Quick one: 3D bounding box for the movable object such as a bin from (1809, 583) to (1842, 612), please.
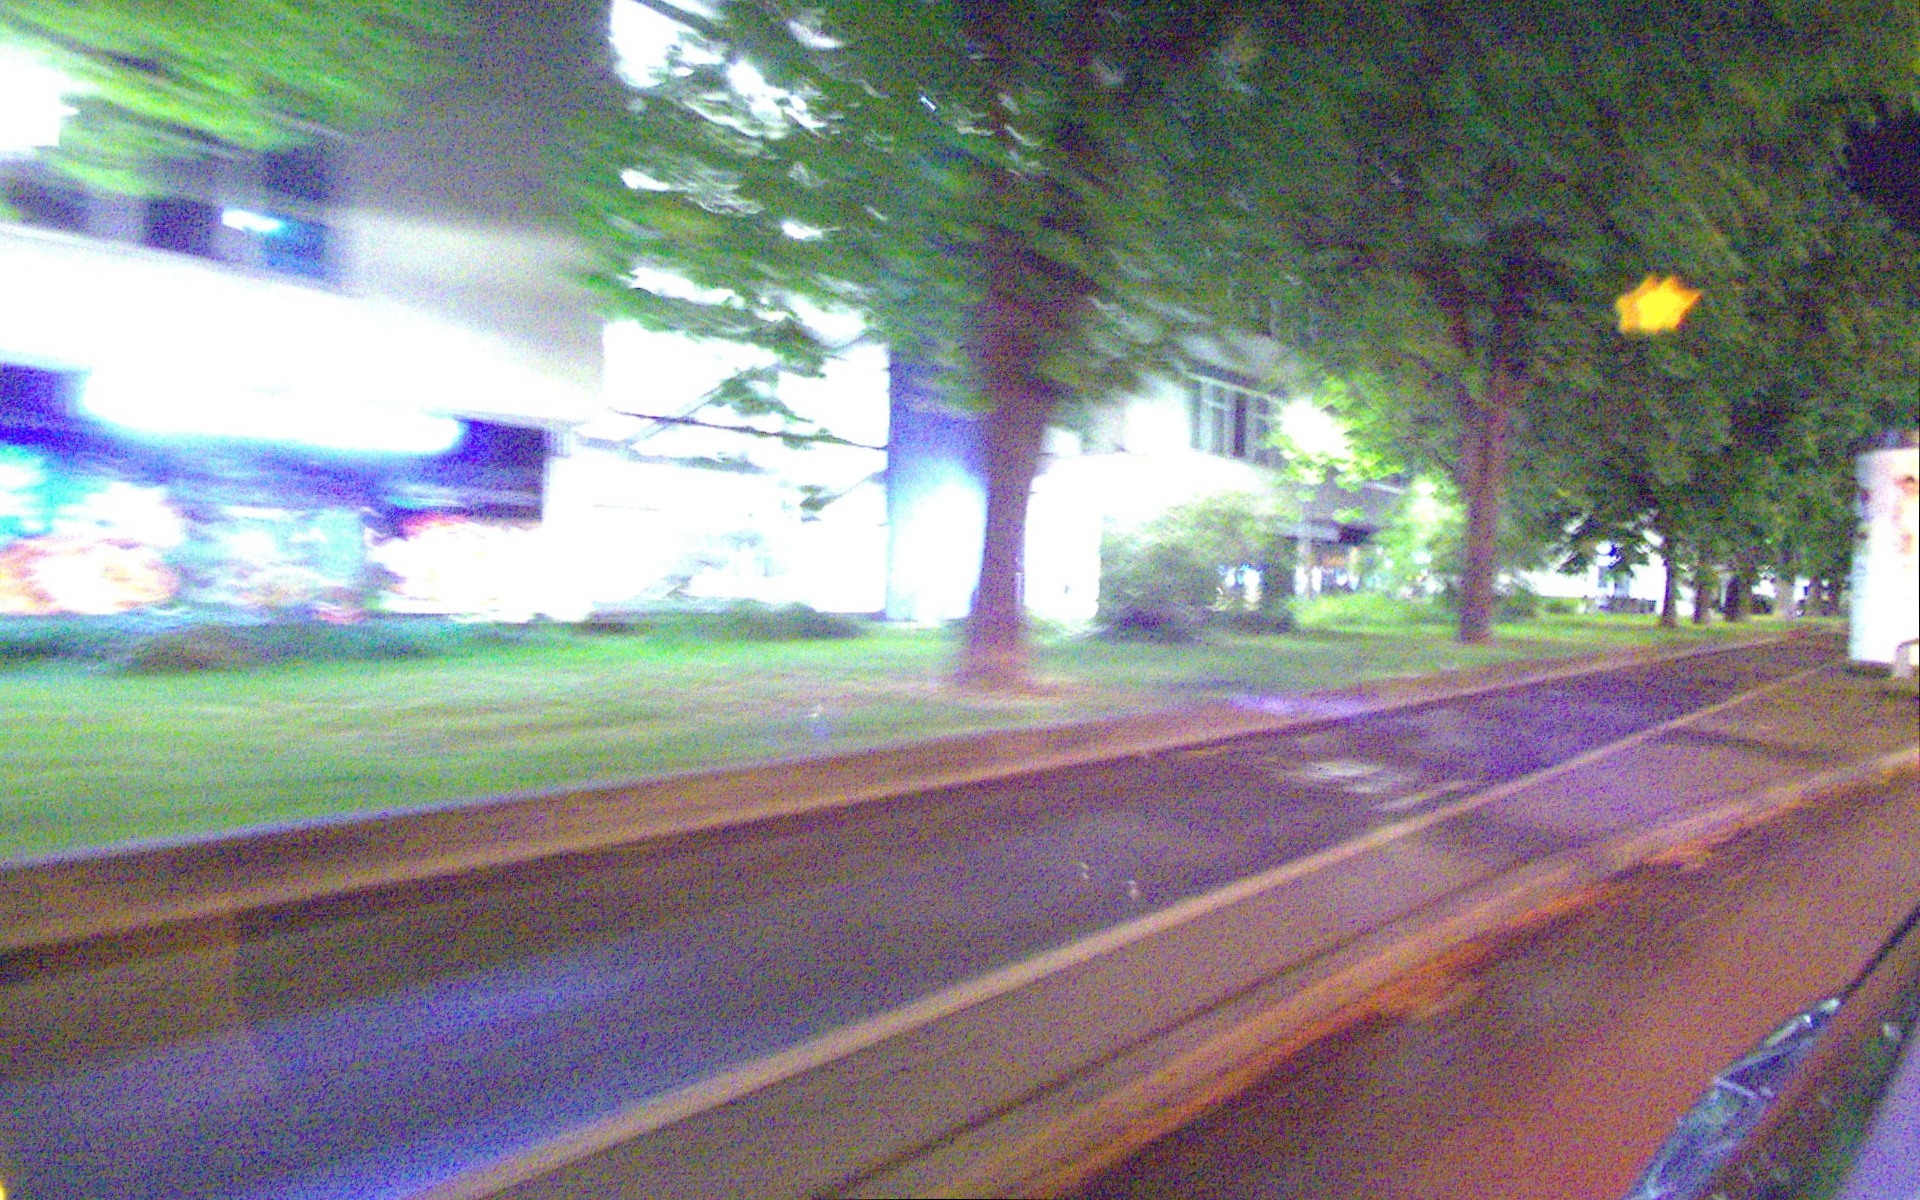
[{"bbox_3d":[42.962,-0.133,50.250,0.977,1.388,1.161,0,1,-44],"label":"movable object such as a bin"}]

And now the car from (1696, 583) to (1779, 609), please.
[{"bbox_3d":[54.043,-0.302,70.415,1.773,1.550,4.321,-2,4,-43],"label":"car"}]
